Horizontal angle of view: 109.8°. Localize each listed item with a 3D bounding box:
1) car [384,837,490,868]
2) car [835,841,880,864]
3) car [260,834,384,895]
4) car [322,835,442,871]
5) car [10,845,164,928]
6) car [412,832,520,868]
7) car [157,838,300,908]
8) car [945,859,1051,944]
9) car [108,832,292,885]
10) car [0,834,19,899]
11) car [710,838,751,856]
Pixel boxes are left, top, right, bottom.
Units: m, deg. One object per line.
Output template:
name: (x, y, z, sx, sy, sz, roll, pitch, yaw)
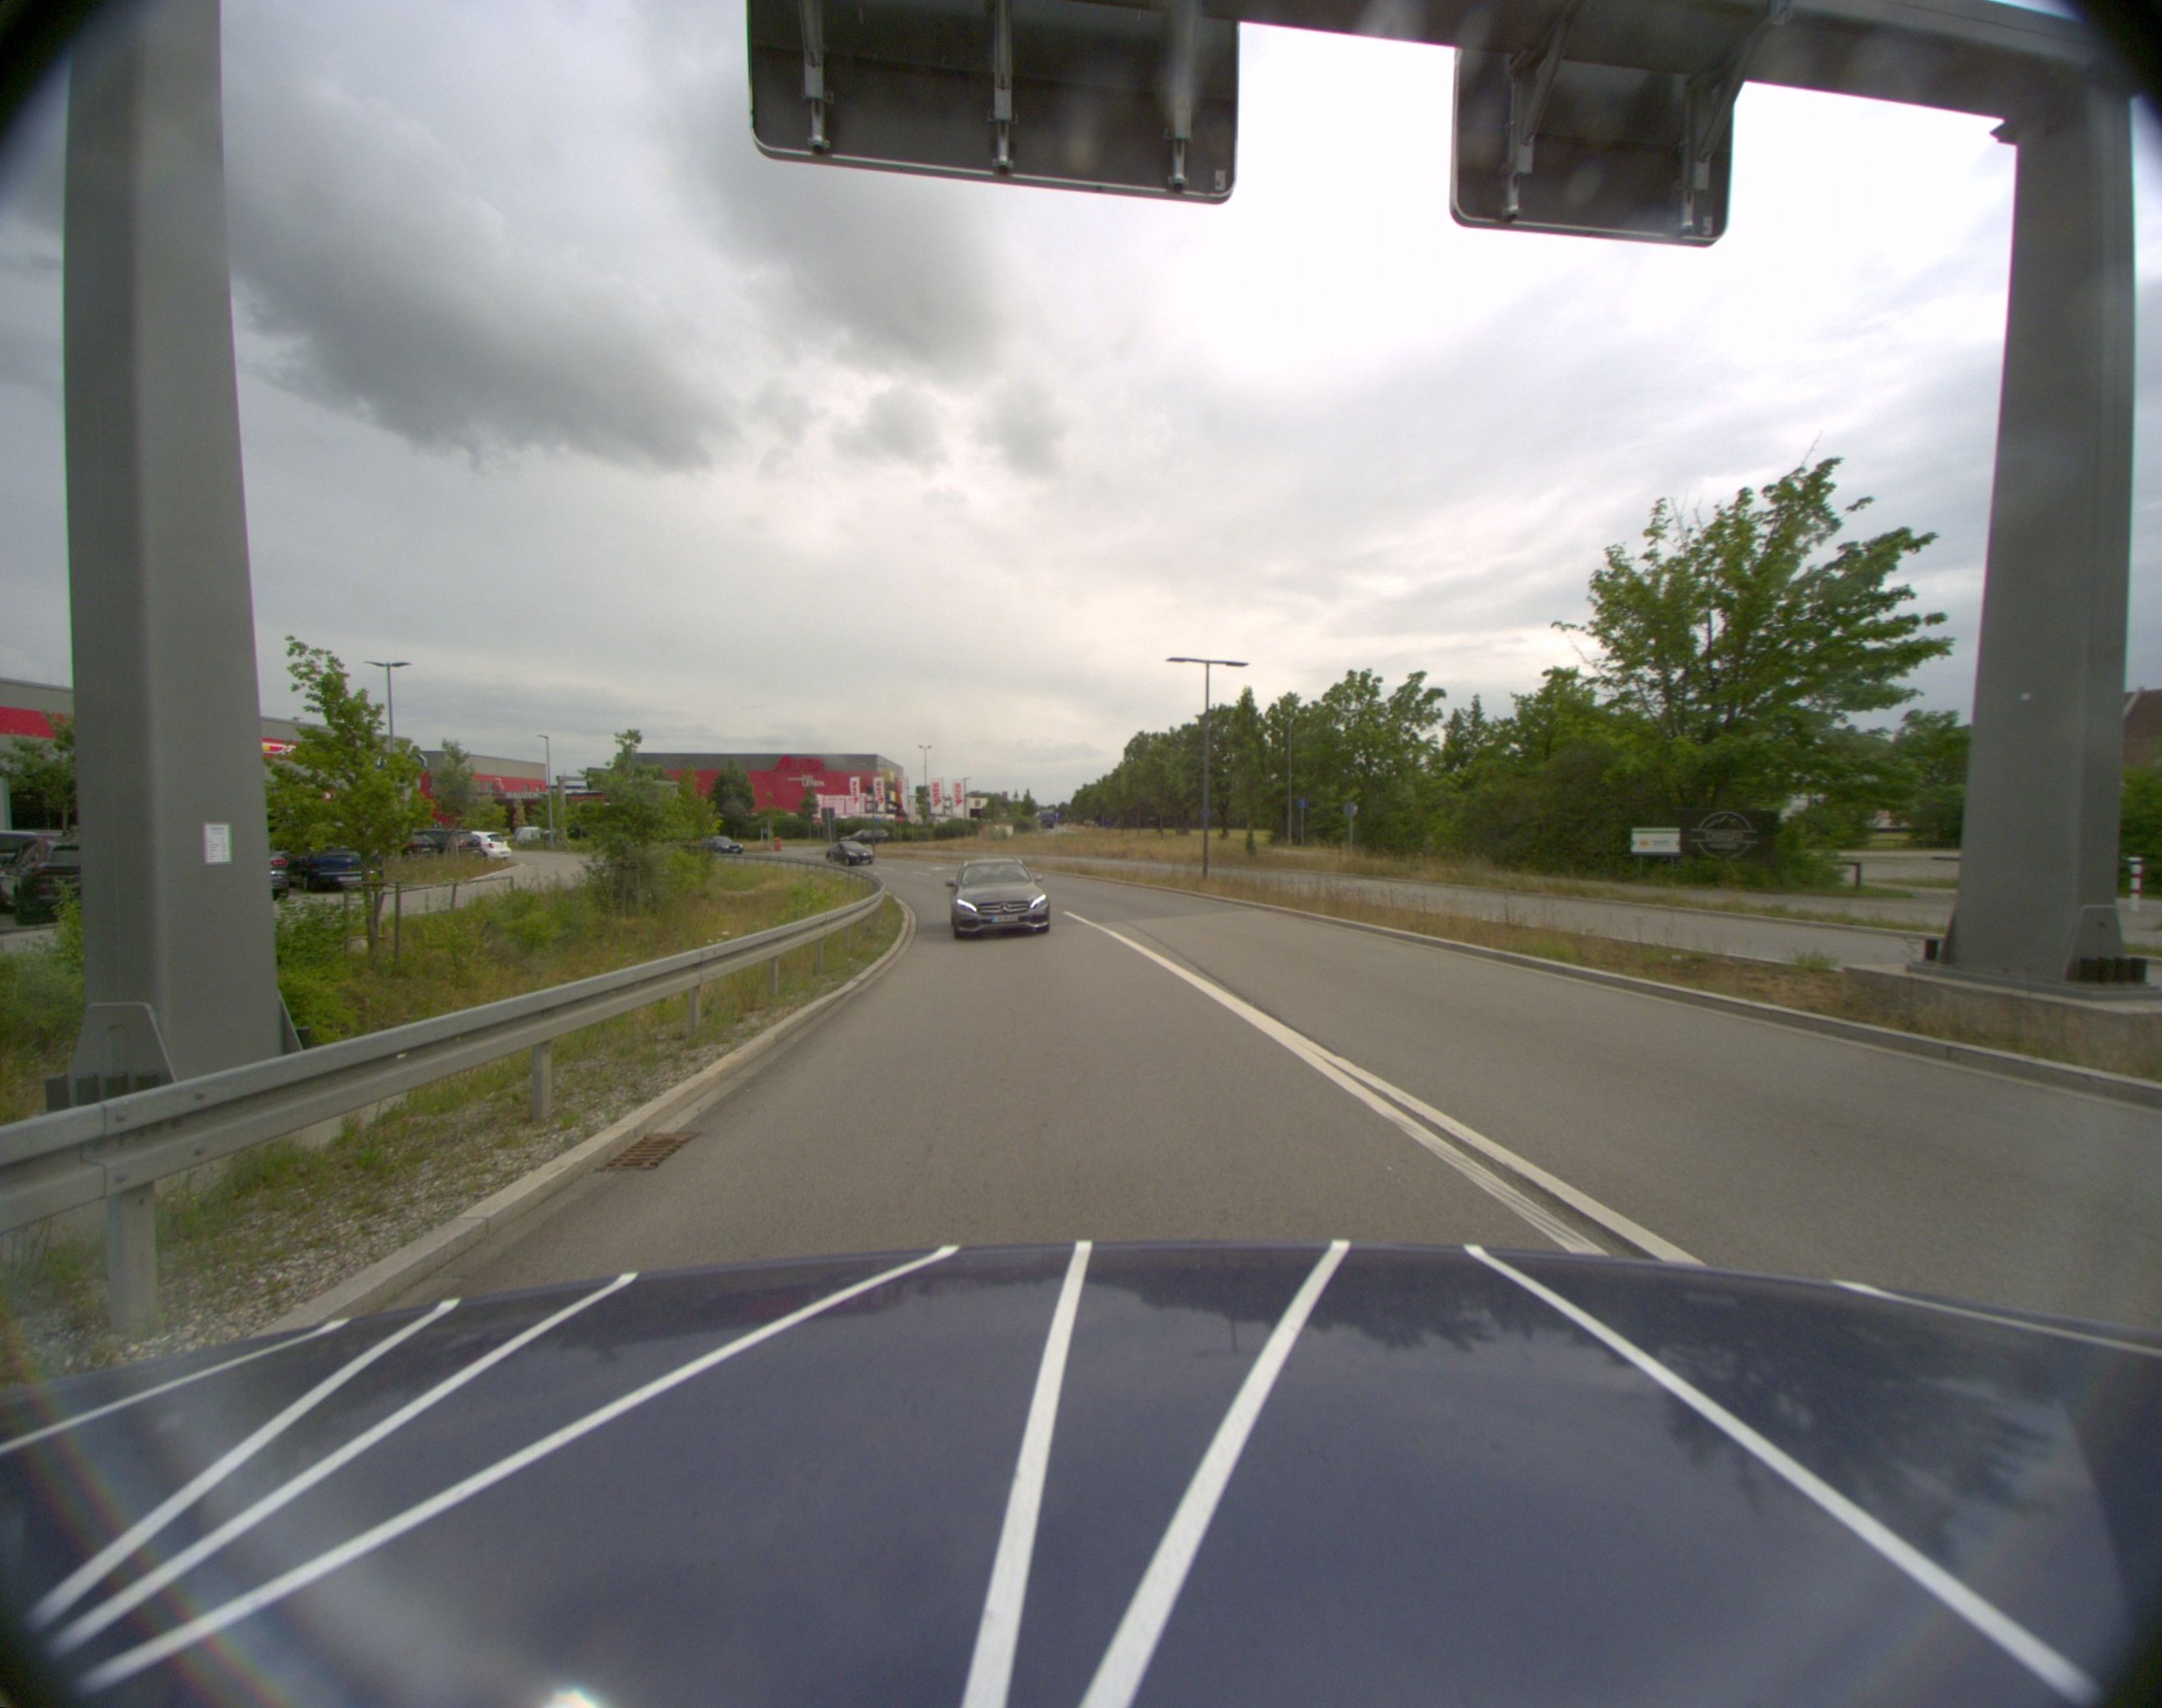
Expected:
car: (-29.275, -0.073, 34.633, 3.323, 1.316, 1.479, -1, 2, -10)
car: (-14.474, -0.103, 49.170, 1.768, 1.310, 3.948, -4, 3, -31)
car: (-23.076, 0.265, 23.075, 4.065, 1.613, 1.740, 3, 2, 31)
car: (-29.039, -0.075, 31.650, 3.323, 1.316, 1.479, -2, 3, -9)
car: (-21.548, 0.643, 16.438, 4.066, 1.613, 1.740, -1, 0, 34)
car: (-29.946, -0.213, 37.095, 3.699, 1.536, 1.589, -2, 3, -9)
car: (-22.852, 0.436, 20.348, 4.065, 1.613, 1.833, 3, 2, 31)
car: (-1.827, 0.863, 15.630, 1.766, 1.411, 4.087, -3, 0, -11)
car: (-28.839, 0.111, 24.979, 3.700, 1.536, 1.589, -2, 3, -9)
car: (-27.474, 0.388, 17.291, 3.699, 1.536, 1.589, -2, 3, -9)
car: (-30.045, -0.652, 65.064, 1.864, 1.404, 4.543, -4, 4, -42)
